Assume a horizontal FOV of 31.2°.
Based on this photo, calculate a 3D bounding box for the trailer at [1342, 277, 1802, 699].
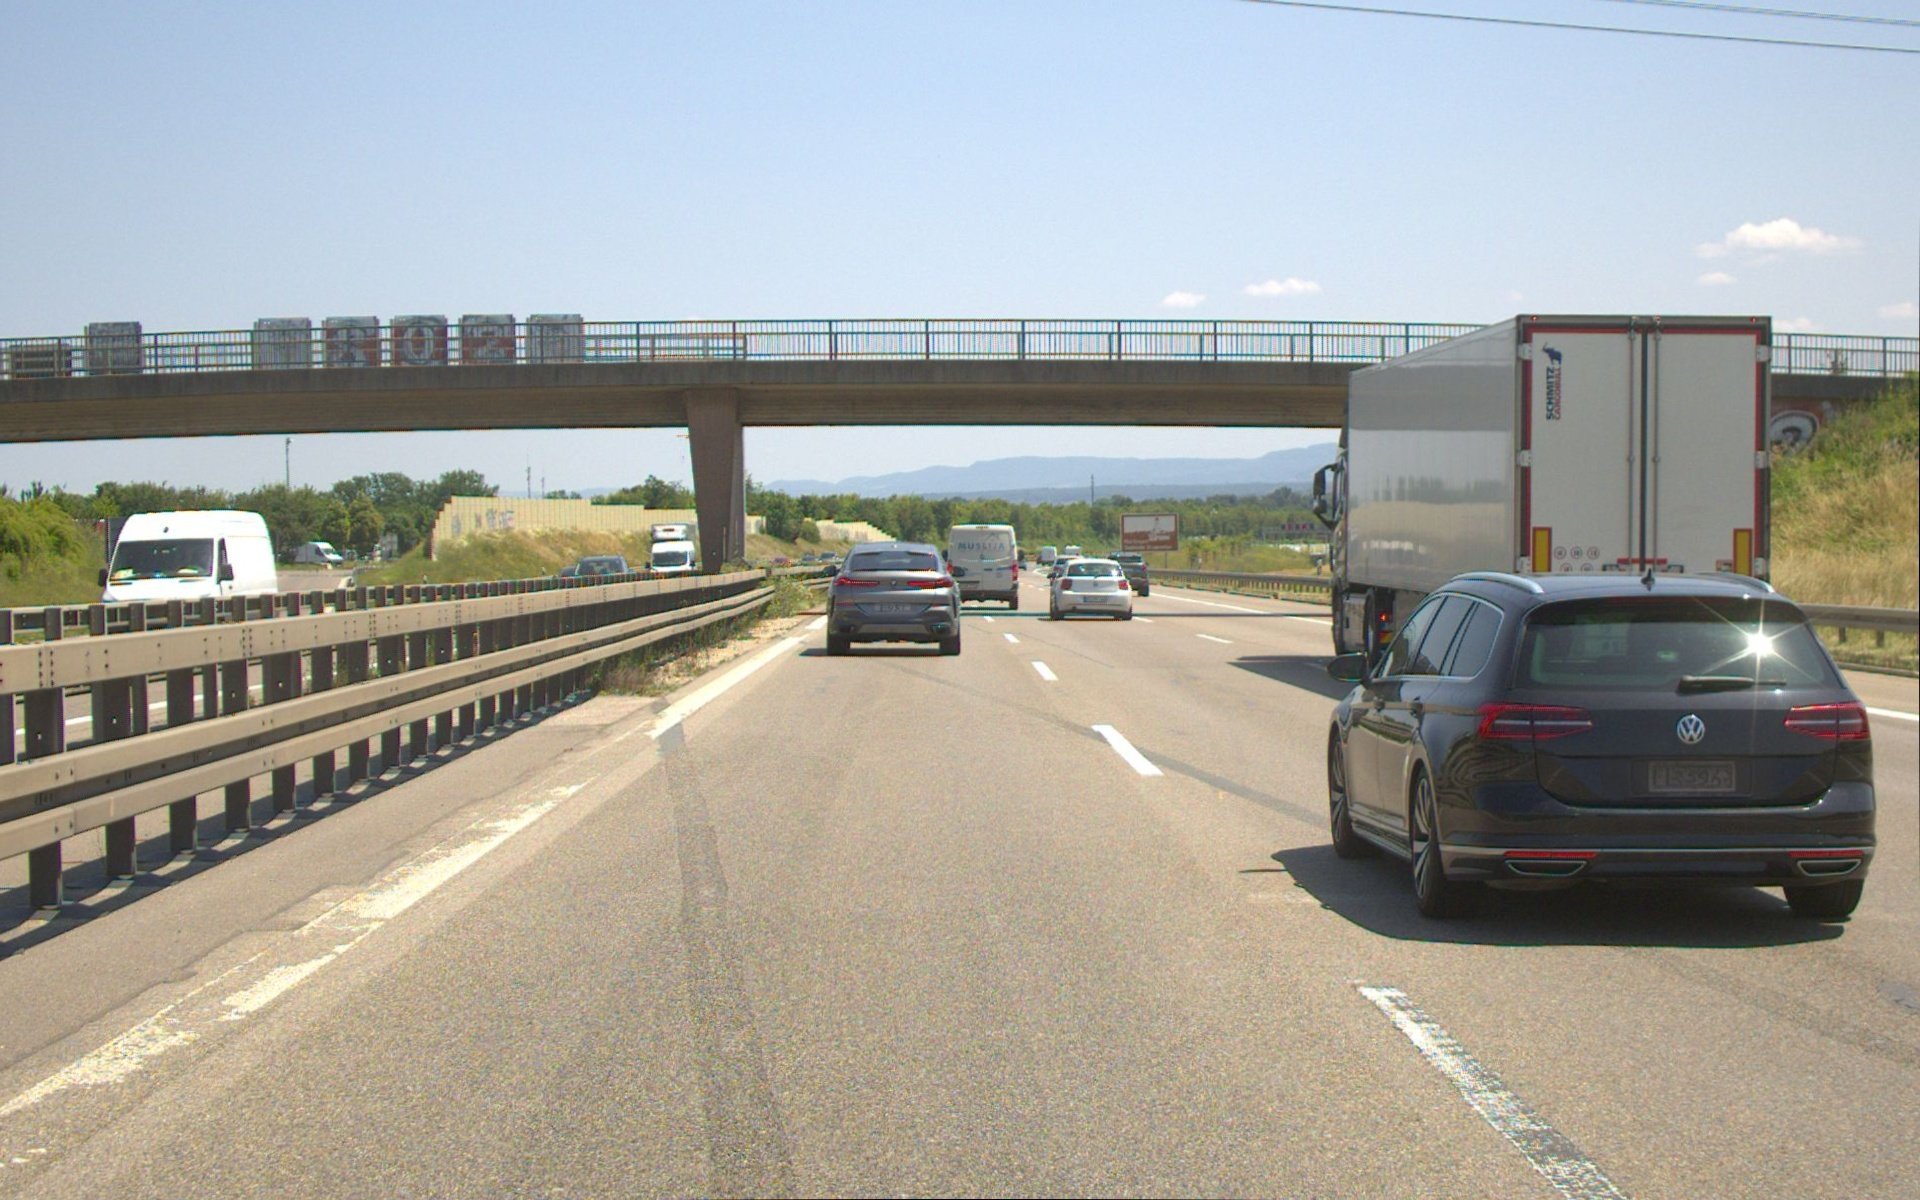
[{"bbox_3d":[6.871,-1.225,41.134,2.943,4.184,13.597,1,1,0],"label":"trailer"}]

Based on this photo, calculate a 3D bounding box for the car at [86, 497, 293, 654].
[{"bbox_3d":[-13.623,-0.470,61.264,2.032,2.596,7.601,1,1,-1],"label":"car"}]

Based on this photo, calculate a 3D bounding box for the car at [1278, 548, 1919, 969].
[{"bbox_3d":[2.677,0.567,15.500,1.933,1.569,4.935,1,1,-1],"label":"car"}]

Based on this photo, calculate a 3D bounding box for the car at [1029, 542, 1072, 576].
[{"bbox_3d":[4.534,-2.053,172.702,1.993,1.677,4.000,1,1,0],"label":"car"}]

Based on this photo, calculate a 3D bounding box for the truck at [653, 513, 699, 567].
[{"bbox_3d":[-19.657,-4.171,238.225,2.739,3.666,5.898,1,1,0],"label":"truck"}]

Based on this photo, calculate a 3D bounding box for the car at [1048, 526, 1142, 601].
[{"bbox_3d":[3.108,-0.858,79.853,1.993,1.677,4.000,1,1,0],"label":"car"}]

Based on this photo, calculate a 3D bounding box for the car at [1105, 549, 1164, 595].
[{"bbox_3d":[6.512,-1.055,128.686,1.993,1.677,4.000,1,1,0],"label":"car"}]

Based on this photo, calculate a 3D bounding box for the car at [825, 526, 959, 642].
[{"bbox_3d":[-1.057,-0.261,51.754,1.851,1.658,3.735,1,1,-3],"label":"car"}]

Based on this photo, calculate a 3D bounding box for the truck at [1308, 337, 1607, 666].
[{"bbox_3d":[6.817,-1.339,48.273,2.979,4.213,7.688,1,1,0],"label":"truck"}]

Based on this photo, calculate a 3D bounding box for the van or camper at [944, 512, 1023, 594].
[{"bbox_3d":[0.616,-1.319,95.995,2.110,2.204,5.266,1,1,0],"label":"van or camper"}]

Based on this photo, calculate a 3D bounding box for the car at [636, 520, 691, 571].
[{"bbox_3d":[-14.732,-2.710,171.070,2.199,2.501,6.331,1,1,0],"label":"car"}]
